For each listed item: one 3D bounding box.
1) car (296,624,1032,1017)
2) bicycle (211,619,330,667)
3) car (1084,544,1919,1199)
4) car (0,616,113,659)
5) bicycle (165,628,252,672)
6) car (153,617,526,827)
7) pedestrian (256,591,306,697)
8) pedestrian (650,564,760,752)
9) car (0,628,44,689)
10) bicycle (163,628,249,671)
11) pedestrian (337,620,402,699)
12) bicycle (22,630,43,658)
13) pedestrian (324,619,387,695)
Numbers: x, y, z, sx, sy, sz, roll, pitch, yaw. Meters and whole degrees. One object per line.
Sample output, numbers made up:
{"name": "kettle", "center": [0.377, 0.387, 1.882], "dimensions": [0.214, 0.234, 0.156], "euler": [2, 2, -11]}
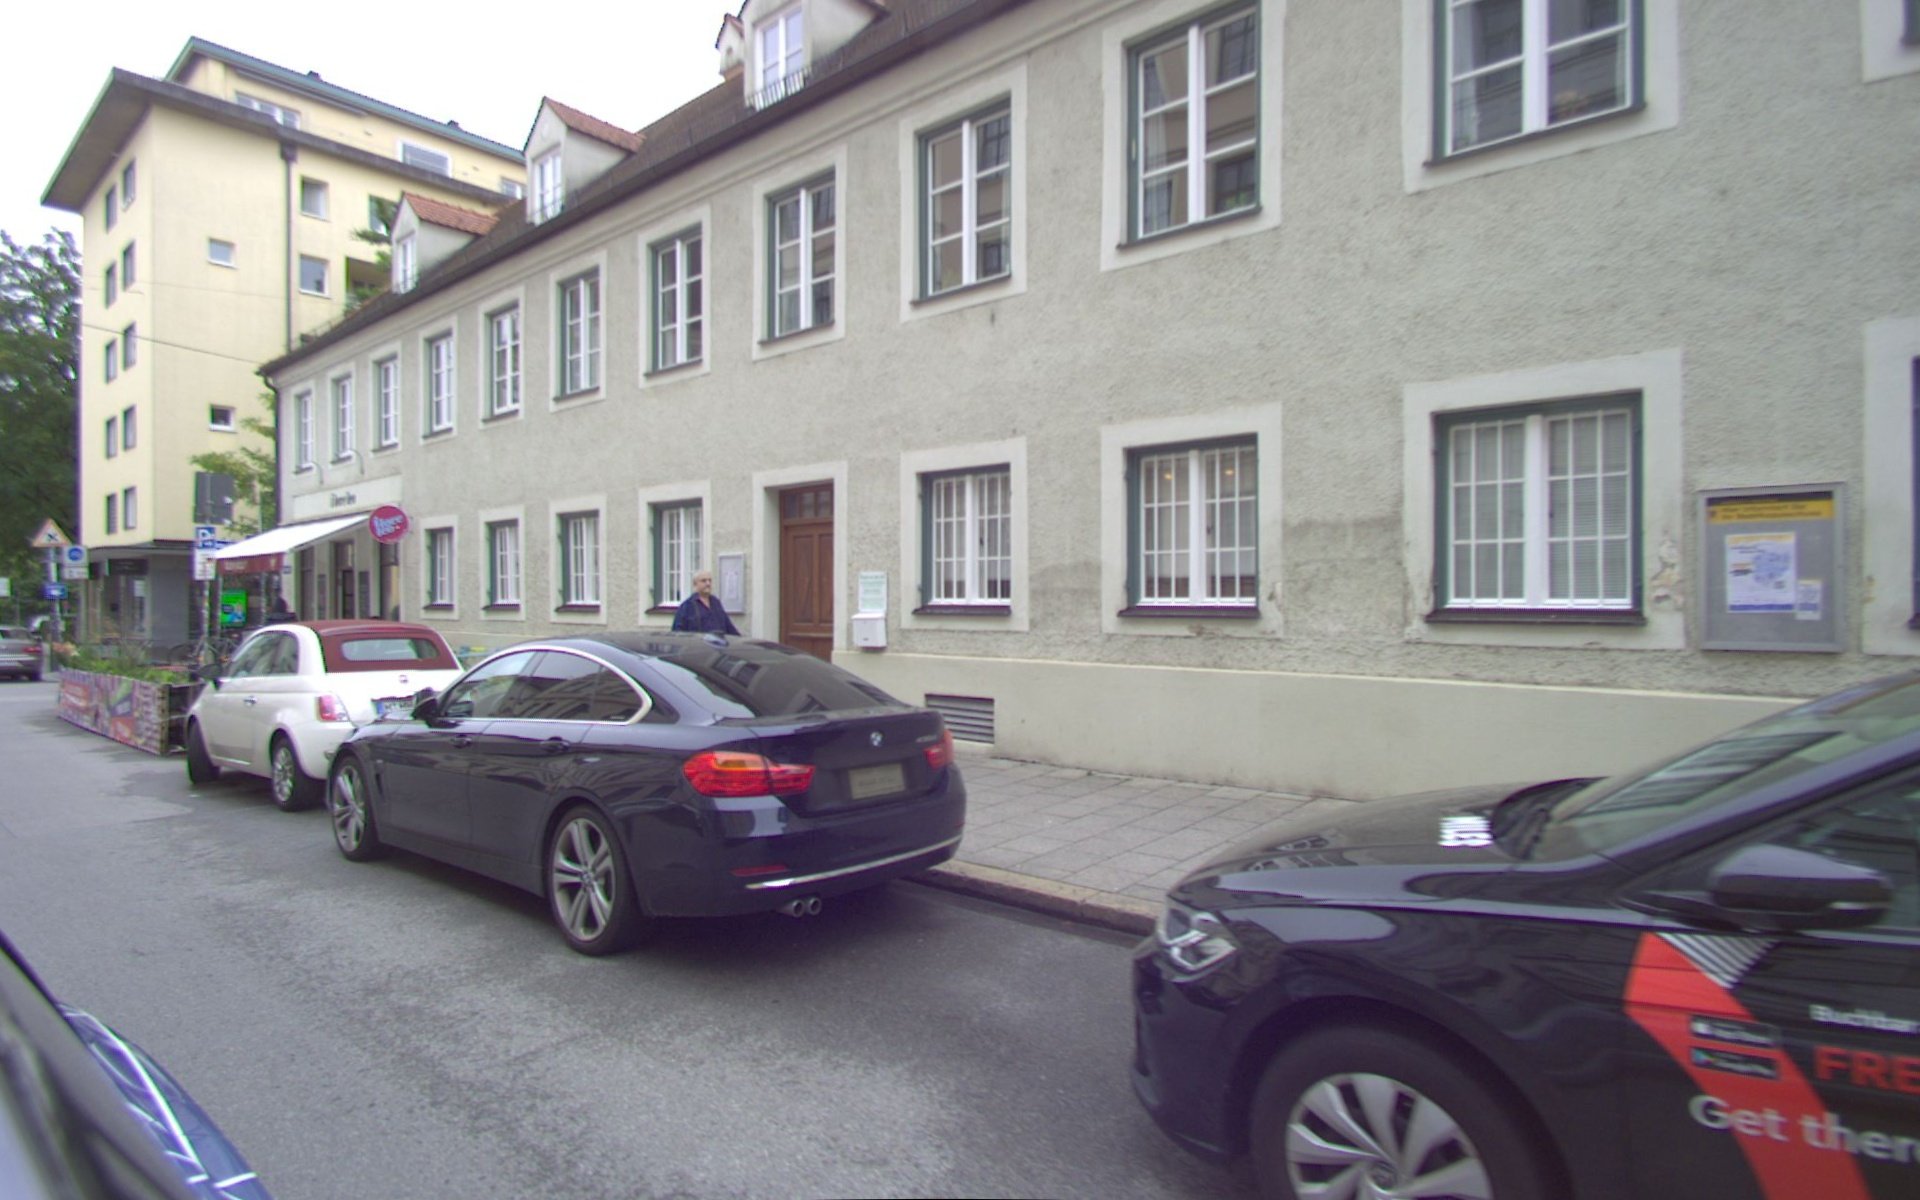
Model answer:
{"name": "car", "center": [-2.008, 0.858, 5.815], "dimensions": [4.682, 1.349, 1.780], "euler": [-2, -1, 40]}
{"name": "bicycle", "center": [-20.447, 1.247, 30.077], "dimensions": [0.818, 1.220, 2.811], "euler": [0, 2, 44]}
{"name": "car", "center": [2.478, 0.654, 1.828], "dimensions": [4.195, 1.507, 1.737], "euler": [-1, 0, 39]}
{"name": "car", "center": [-46.540, 1.879, 51.924], "dimensions": [1.926, 2.016, 4.381], "euler": [0, 0, 26]}
{"name": "bicycle", "center": [-20.170, 1.332, 27.201], "dimensions": [0.392, 1.042, 1.798], "euler": [-3, 0, 44]}
{"name": "car", "center": [-5.775, 0.938, 9.277], "dimensions": [3.709, 1.486, 1.738], "euler": [-1, 0, 38]}
{"name": "pedestrian", "center": [-11.867, 0.747, 17.680], "dimensions": [0.877, 1.795, 0.523], "euler": [0, 0, 42]}
{"name": "pedestrian", "center": [-2.745, 0.590, 10.903], "dimensions": [0.827, 1.912, 0.814], "euler": [0, 0, 40]}
{"name": "car", "center": [-25.344, 1.472, 26.188], "dimensions": [4.944, 1.482, 1.662], "euler": [-1, -2, 39]}
{"name": "bicycle", "center": [-20.460, 1.329, 27.482], "dimensions": [0.392, 1.042, 1.798], "euler": [-3, 0, 44]}
{"name": "pedestrian", "center": [-10.297, 1.017, 17.657], "dimensions": [0.693, 1.300, 0.795], "euler": [0, 0, 41]}
{"name": "bicycle", "center": [-41.265, 1.942, 45.008], "dimensions": [1.854, 1.219, 0.555], "euler": [-1, 0, 44]}
{"name": "pedestrian", "center": [-10.836, 1.002, 18.141], "dimensions": [0.693, 1.299, 0.795], "euler": [0, 0, 41]}
